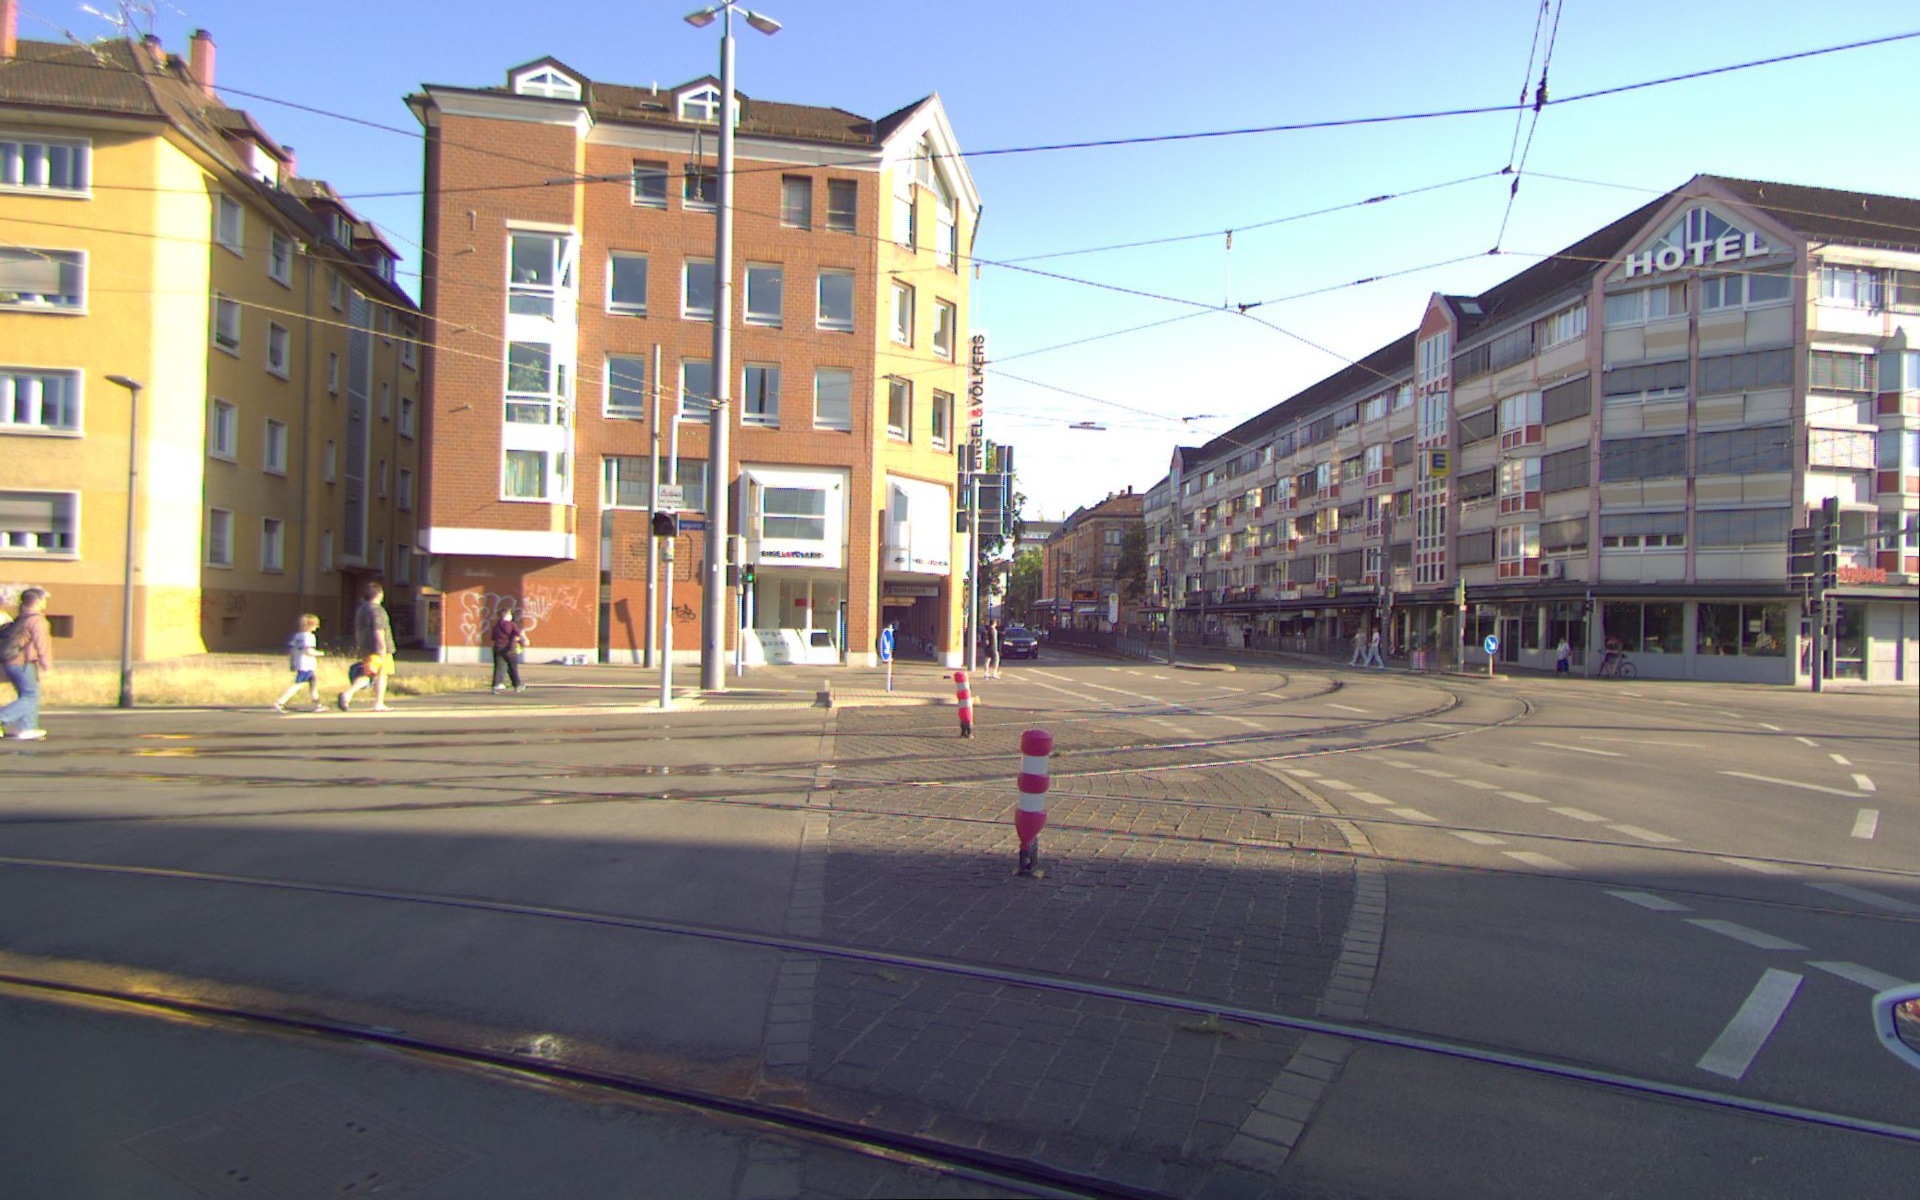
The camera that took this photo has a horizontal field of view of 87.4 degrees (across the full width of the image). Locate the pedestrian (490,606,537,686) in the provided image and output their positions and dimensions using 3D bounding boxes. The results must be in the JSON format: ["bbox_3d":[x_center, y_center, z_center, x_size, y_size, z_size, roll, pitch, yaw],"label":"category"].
[{"bbox_3d":[-9.227,0.952,20.778,0.829,1.605,0.680,2,1,-23],"label":"pedestrian"}]

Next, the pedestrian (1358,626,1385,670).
[{"bbox_3d":[17.164,1.984,41.904,0.993,1.788,0.506,2,1,-30],"label":"pedestrian"}]

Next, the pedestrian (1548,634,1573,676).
[{"bbox_3d":[24.788,2.270,41.464,0.627,1.684,0.710,2,-2,-33],"label":"pedestrian"}]

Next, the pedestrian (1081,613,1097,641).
[{"bbox_3d":[7.383,1.539,57.500,0.683,1.599,0.616,2,1,-30],"label":"pedestrian"}]

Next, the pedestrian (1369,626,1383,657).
[{"bbox_3d":[25.586,2.568,61.774,0.599,1.877,0.603,2,1,0],"label":"pedestrian"}]

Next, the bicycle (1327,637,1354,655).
[{"bbox_3d":[24.883,3.001,65.684,1.620,1.134,0.483,2,1,-10],"label":"bicycle"}]

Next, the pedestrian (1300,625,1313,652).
[{"bbox_3d":[24.244,2.705,70.289,0.804,1.802,0.680,2,1,20],"label":"pedestrian"}]

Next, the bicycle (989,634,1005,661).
[{"bbox_3d":[1.599,2.078,43.822,0.622,1.062,1.837,2,0,1],"label":"bicycle"}]

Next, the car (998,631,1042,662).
[{"bbox_3d":[2.950,2.276,49.991,1.717,1.261,3.936,2,0,-3],"label":"car"}]

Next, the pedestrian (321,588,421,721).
[{"bbox_3d":[-8.265,0.737,14.120,0.761,1.781,0.900,2,1,21],"label":"pedestrian"}]

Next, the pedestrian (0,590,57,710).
[{"bbox_3d":[-13.275,0.673,13.999,0.825,1.605,0.684,2,1,17],"label":"pedestrian"}]

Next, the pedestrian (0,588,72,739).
[{"bbox_3d":[-10.112,0.663,10.883,0.776,1.556,0.616,2,1,41],"label":"pedestrian"}]

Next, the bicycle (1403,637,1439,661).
[{"bbox_3d":[25.065,2.646,54.688,0.716,1.243,2.331,2,-1,-4],"label":"bicycle"}]

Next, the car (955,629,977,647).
[{"bbox_3d":[0.532,3.388,90.284,1.717,1.443,3.935,2,0,-4],"label":"car"}]

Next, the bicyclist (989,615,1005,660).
[{"bbox_3d":[1.612,1.635,43.968,0.622,1.904,0.810,2,1,1],"label":"bicyclist"}]

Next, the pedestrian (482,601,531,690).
[{"bbox_3d":[-8.493,0.844,18.807,0.778,1.609,0.604,2,1,-27],"label":"pedestrian"}]

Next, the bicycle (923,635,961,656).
[{"bbox_3d":[-0.879,2.250,49.514,1.803,0.974,0.543,2,1,-7],"label":"bicycle"}]

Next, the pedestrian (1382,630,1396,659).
[{"bbox_3d":[25.237,2.604,59.082,0.601,1.657,0.601,2,1,36],"label":"pedestrian"}]

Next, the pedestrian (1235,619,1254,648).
[{"bbox_3d":[16.831,1.957,59.461,0.768,1.682,0.681,2,1,-15],"label":"pedestrian"}]

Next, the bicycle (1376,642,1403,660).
[{"bbox_3d":[24.673,2.928,57.693,0.492,0.929,2.077,2,-1,-4],"label":"bicycle"}]

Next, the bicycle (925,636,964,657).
[{"bbox_3d":[-0.768,2.260,48.694,1.803,0.974,0.543,1,1,-7],"label":"bicycle"}]

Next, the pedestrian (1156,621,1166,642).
[{"bbox_3d":[20.229,3.203,101.195,0.825,2.040,0.777,2,1,-1],"label":"pedestrian"}]

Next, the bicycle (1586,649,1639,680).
[{"bbox_3d":[25.845,2.558,39.784,1.736,1.160,0.640,-1,1,-7],"label":"bicycle"}]

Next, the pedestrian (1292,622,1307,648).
[{"bbox_3d":[23.027,2.373,68.125,0.738,1.667,0.550,2,1,0],"label":"pedestrian"}]

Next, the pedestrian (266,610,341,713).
[{"bbox_3d":[-9.094,0.849,13.932,0.584,1.378,0.609,-1,-3,11],"label":"pedestrian"}]

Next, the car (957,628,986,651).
[{"bbox_3d":[0.774,2.760,70.723,1.717,1.443,3.935,2,0,-4],"label":"car"}]

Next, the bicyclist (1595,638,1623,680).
[{"bbox_3d":[25.686,2.330,39.758,0.646,1.618,0.640,-1,1,-6],"label":"bicyclist"}]

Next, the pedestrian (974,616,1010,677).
[{"bbox_3d":[0.949,1.379,30.073,0.818,1.781,0.692,2,1,-24],"label":"pedestrian"}]

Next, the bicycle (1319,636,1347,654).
[{"bbox_3d":[24.913,2.996,67.114,1.620,1.134,0.565,2,1,-10],"label":"bicycle"}]

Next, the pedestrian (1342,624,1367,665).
[{"bbox_3d":[17.089,1.909,43.485,0.861,1.717,0.616,1,1,-42],"label":"pedestrian"}]
